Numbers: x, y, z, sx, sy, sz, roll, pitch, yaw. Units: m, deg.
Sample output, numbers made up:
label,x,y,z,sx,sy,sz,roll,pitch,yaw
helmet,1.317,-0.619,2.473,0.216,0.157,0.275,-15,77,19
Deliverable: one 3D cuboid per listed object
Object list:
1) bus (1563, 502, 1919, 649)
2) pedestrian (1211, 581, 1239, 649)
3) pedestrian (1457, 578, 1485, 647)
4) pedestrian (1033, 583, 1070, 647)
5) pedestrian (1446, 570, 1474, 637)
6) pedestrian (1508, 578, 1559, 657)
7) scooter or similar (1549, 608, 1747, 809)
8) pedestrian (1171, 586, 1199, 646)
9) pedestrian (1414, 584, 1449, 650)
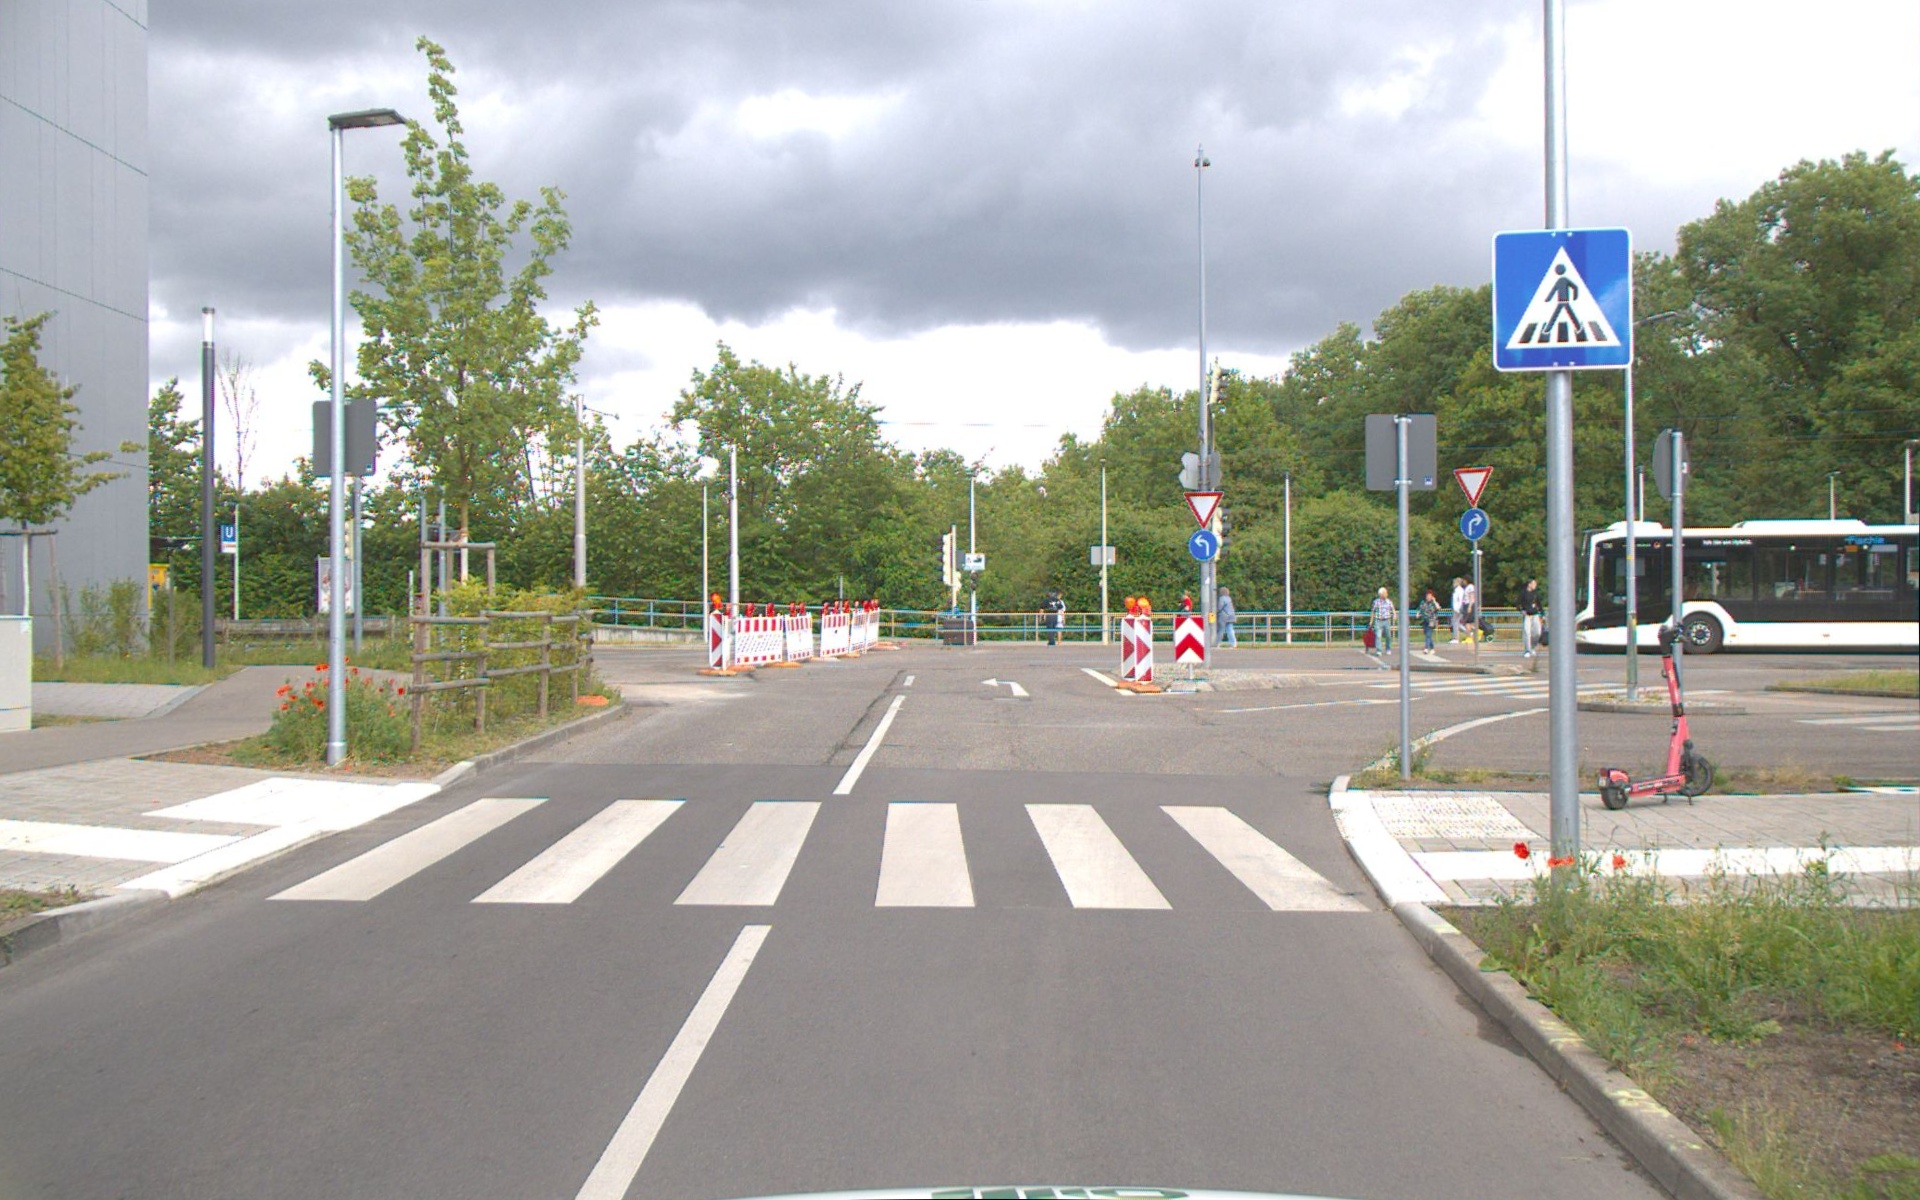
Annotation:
label,x,y,z,sx,sy,sz,roll,pitch,yaw
bus,20.729,-0.567,39.015,11.899,3.259,2.677,-1,0,12
pedestrian,7.056,0.391,43.964,0.705,1.778,0.958,0,0,11
pedestrian,13.359,0.319,43.253,0.705,1.778,0.958,0,0,16
pedestrian,2.595,0.418,46.858,0.936,1.778,0.721,0,0,-8
pedestrian,13.427,0.105,44.450,0.705,1.778,0.958,0,0,16
pedestrian,13.223,0.397,38.123,0.936,1.777,1.060,0,0,29
scooter or similar,4.886,0.728,11.713,1.507,1.336,0.566,0,0,-34
pedestrian,6.198,0.430,45.557,0.705,1.649,0.806,0,0,11
pedestrian,11.442,0.406,40.160,0.677,1.594,0.731,0,0,29
